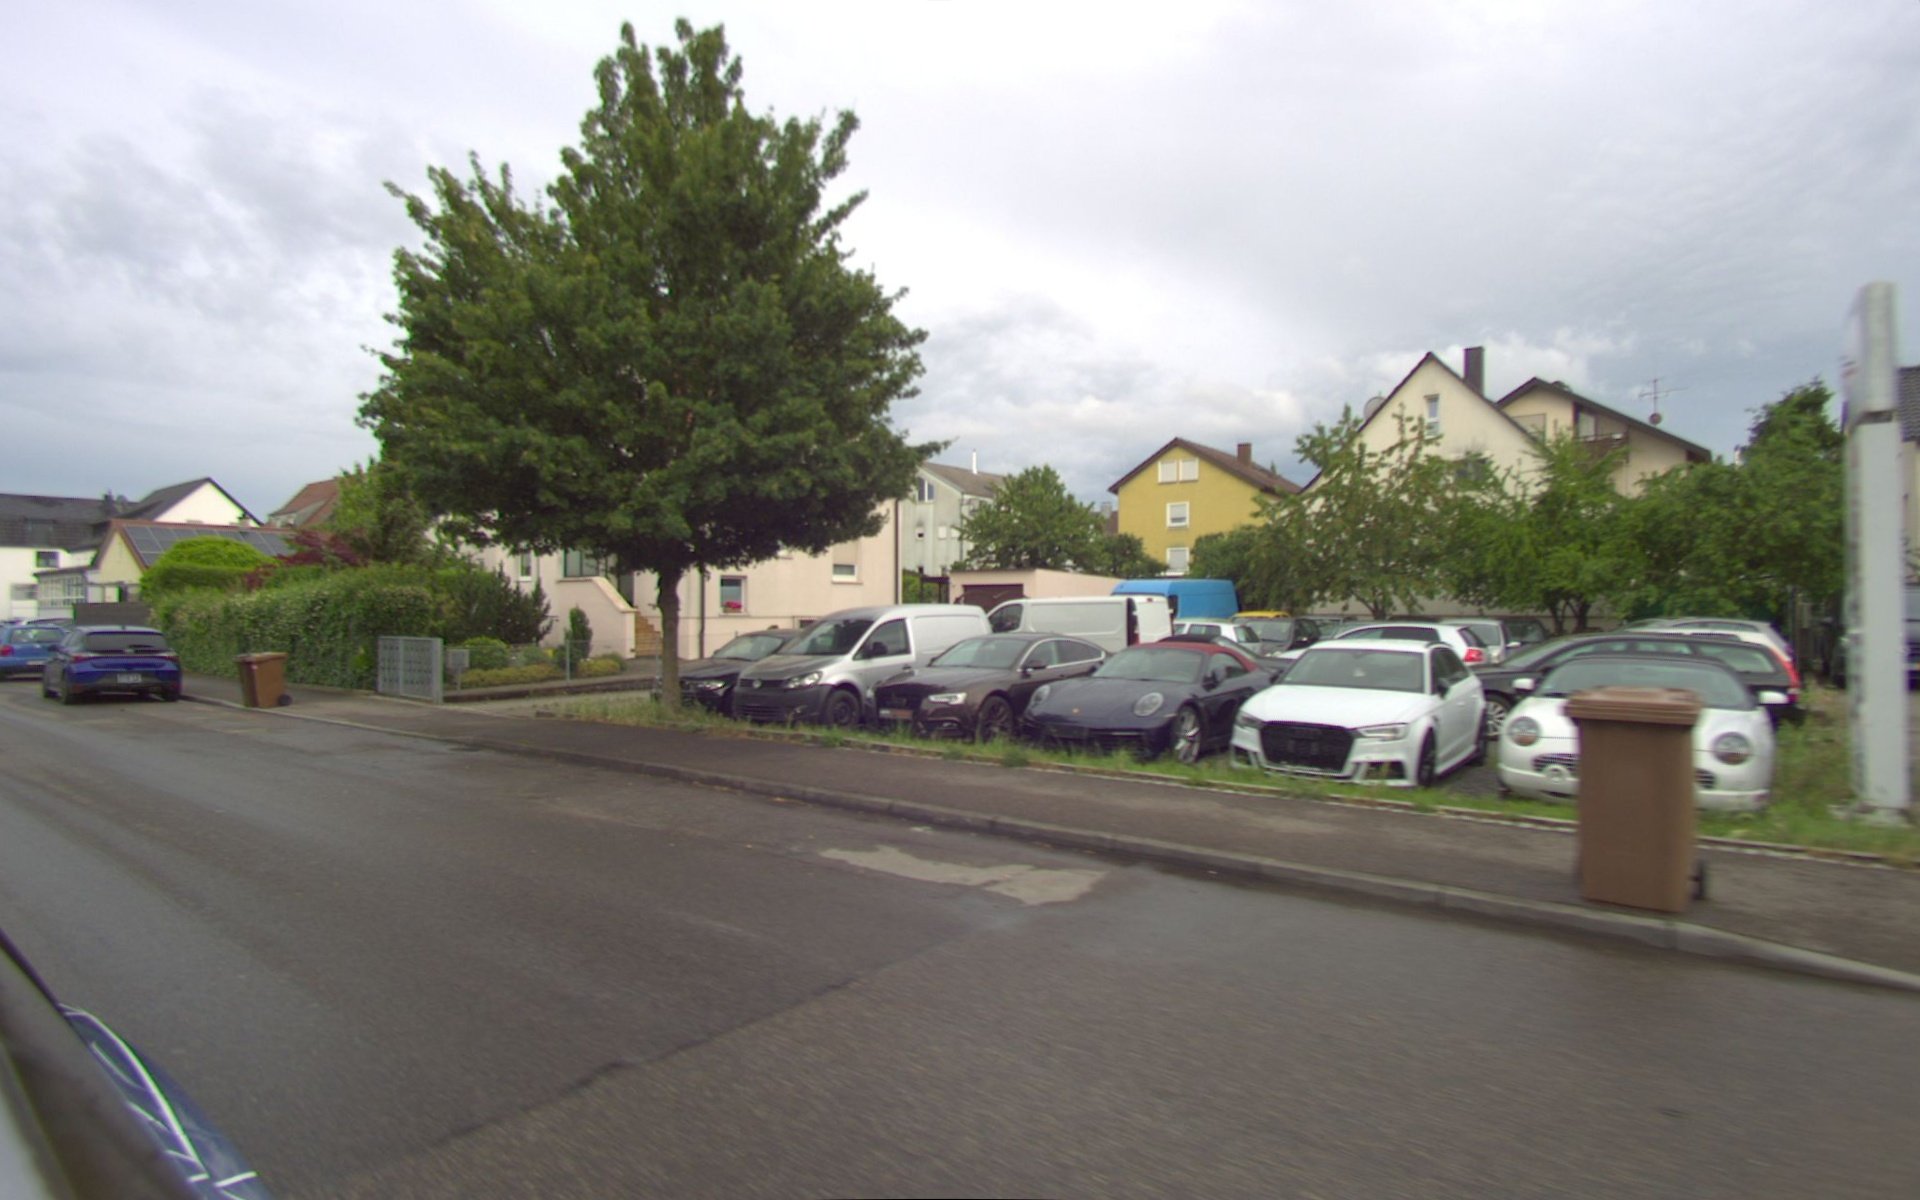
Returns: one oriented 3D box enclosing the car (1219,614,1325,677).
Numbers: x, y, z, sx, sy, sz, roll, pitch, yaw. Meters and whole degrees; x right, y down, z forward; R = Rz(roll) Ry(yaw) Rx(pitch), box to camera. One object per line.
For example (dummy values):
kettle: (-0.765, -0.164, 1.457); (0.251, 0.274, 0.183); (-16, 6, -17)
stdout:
car: (7.277, 1.004, 23.457); (1.336, 1.343, 3.193); (-1, -1, 37)

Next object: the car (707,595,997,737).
car: (-1.451, 0.877, 15.305); (1.893, 1.804, 4.518); (-1, -1, 35)

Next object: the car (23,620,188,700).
car: (-16.941, 1.134, 20.005); (3.940, 1.414, 1.789); (-1, -3, 39)

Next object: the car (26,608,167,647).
car: (-34.886, 1.086, 40.977); (1.710, 1.424, 4.048); (-2, -1, 36)

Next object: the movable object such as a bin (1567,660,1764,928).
movable object such as a bin: (3.501, 0.894, 5.017); (0.734, 1.138, 0.701); (-1, -1, 40)

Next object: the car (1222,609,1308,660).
car: (8.690, 0.950, 28.707); (1.336, 1.343, 3.193); (-1, -1, 37)

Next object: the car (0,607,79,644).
car: (-47.627, 1.290, 51.296); (1.995, 1.544, 4.051); (-10, -5, 33)

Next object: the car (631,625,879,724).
car: (-3.245, 1.123, 16.653); (1.757, 1.383, 3.877); (-1, -1, 35)

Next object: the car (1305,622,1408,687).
car: (8.943, 1.165, 22.710); (1.336, 1.343, 3.193); (-1, -1, 37)

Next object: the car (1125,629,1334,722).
car: (4.436, 1.210, 16.802); (3.205, 1.426, 1.331); (-1, -1, 17)

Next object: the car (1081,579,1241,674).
car: (5.777, 0.671, 28.475); (2.045, 2.392, 5.614); (-1, -1, 39)

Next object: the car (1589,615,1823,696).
car: (13.783, 0.995, 18.875); (3.205, 1.426, 1.331); (-1, -1, 17)

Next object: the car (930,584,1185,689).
car: (1.937, 0.745, 21.147); (5.045, 1.945, 1.975); (-1, -2, 37)

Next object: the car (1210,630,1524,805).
car: (4.442, 1.032, 10.625); (1.887, 1.384, 4.333); (-1, -1, 39)

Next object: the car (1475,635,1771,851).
car: (6.053, 1.028, 8.993); (1.769, 1.342, 4.407); (-1, -1, 39)

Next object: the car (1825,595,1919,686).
car: (17.673, 0.702, 19.007); (1.897, 1.567, 3.949); (-1, -1, 37)

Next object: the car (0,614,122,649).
car: (-41.306, 1.439, 46.436); (1.879, 1.525, 4.048); (-2, -2, 35)

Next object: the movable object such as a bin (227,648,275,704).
movable object such as a bin: (-12.473, 1.326, 17.795); (0.505, 0.917, 0.535); (-1, 1, 38)

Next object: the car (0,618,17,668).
car: (-30.853, 1.324, 31.566); (3.703, 1.518, 1.592); (-1, -3, 39)

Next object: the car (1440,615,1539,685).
car: (11.104, 0.998, 21.130); (1.336, 1.343, 3.193); (-1, -1, 37)

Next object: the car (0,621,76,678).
car: (-24.869, 1.281, 26.853); (3.593, 1.414, 1.530); (-1, -3, 39)

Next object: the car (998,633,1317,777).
car: (2.549, 1.088, 12.130); (1.887, 1.319, 4.513); (-1, -1, 39)

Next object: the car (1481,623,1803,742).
car: (8.783, 1.029, 13.297); (3.205, 1.426, 1.331); (-1, -1, 17)

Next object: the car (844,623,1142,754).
car: (0.637, 1.039, 13.666); (1.893, 1.429, 4.518); (-1, -1, 35)

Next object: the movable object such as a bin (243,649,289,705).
movable object such as a bin: (-12.047, 1.327, 17.567); (0.424, 0.917, 0.535); (-1, 1, 38)

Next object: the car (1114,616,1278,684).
car: (4.974, 1.017, 21.473); (3.111, 1.343, 1.372); (-1, -1, 37)

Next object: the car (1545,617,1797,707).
car: (11.904, 1.011, 17.159); (3.208, 1.426, 1.329); (-1, -1, 19)

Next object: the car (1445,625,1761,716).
car: (9.841, 1.033, 15.866); (3.981, 1.267, 1.606); (-1, -1, 28)

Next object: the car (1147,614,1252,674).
car: (5.871, 1.025, 24.589); (1.336, 1.343, 3.193); (-1, -1, 37)

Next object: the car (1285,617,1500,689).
car: (8.179, 0.958, 19.219); (3.523, 1.245, 1.645); (-1, -1, 34)
